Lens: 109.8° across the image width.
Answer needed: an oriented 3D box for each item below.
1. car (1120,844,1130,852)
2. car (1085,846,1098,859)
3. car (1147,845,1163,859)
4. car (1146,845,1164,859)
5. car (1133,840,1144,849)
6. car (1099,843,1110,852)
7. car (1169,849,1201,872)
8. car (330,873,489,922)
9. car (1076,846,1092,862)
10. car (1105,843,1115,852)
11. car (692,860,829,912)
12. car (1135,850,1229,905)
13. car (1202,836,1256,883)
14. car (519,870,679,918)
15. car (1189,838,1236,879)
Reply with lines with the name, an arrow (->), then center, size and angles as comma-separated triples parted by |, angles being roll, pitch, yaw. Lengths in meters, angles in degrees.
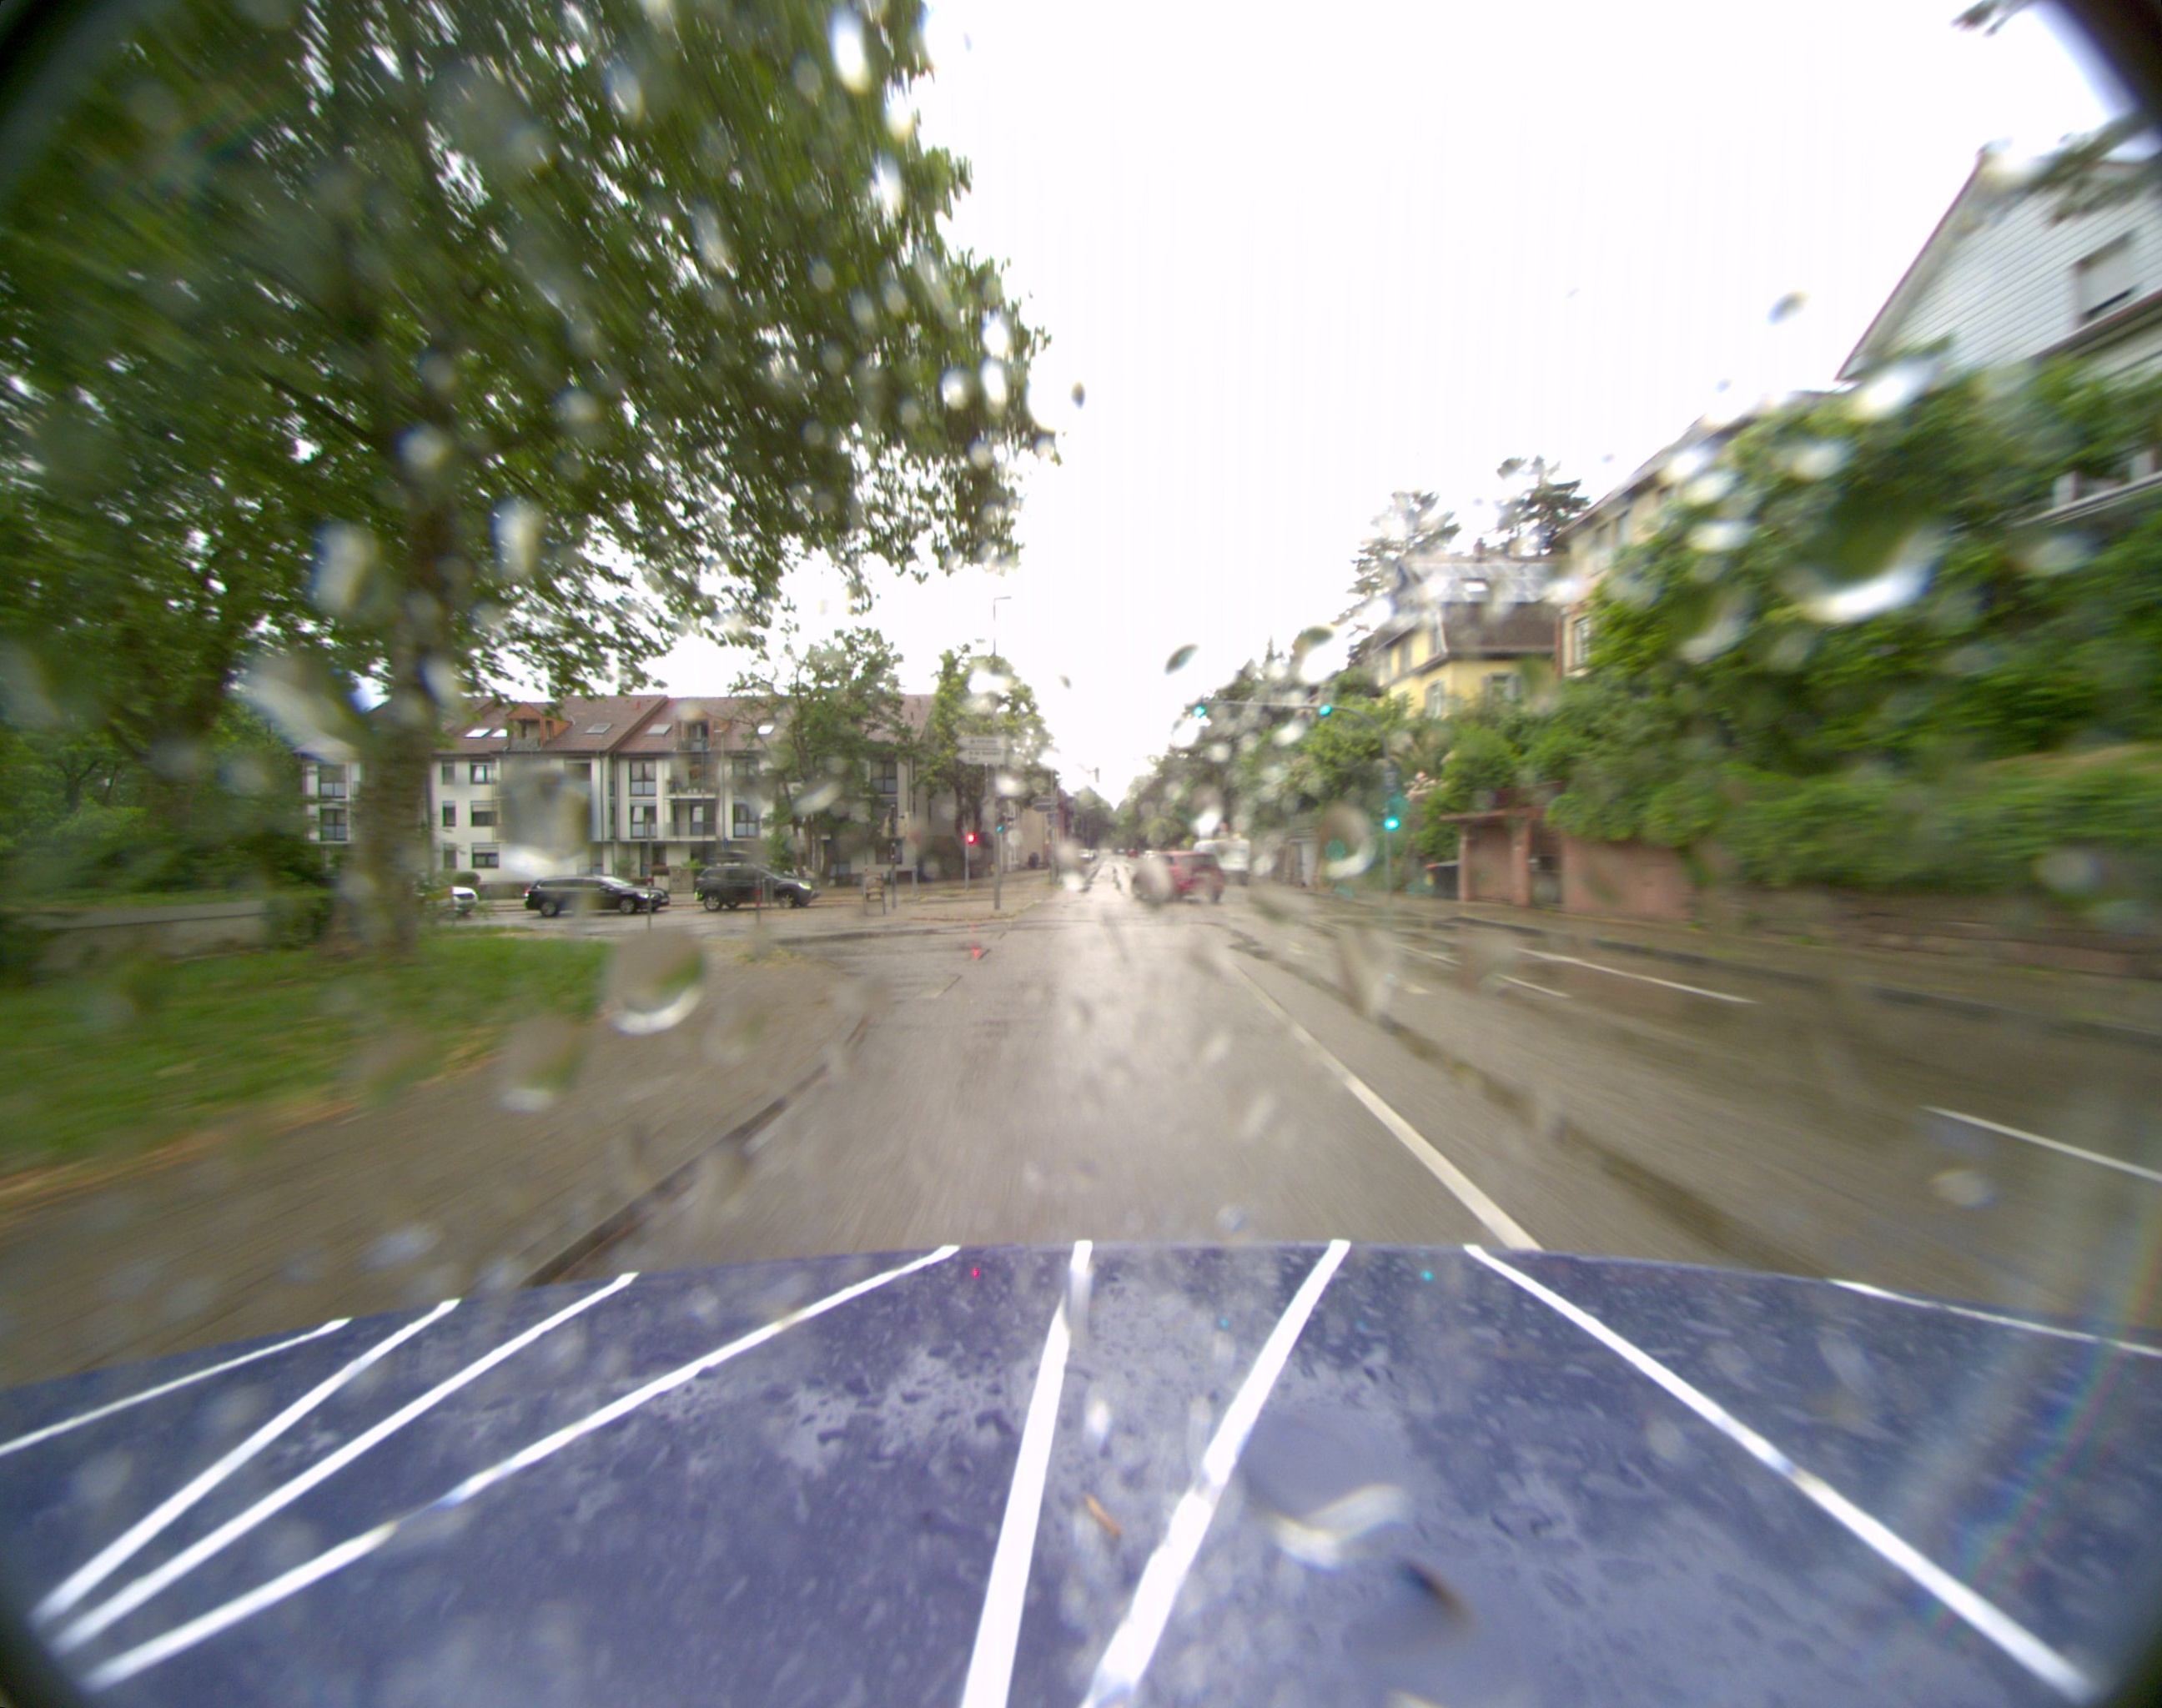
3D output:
car -> 11.404, -1.481, 196.755 | 1.923, 1.889, 4.004 | -1, 1, 14
car -> 1.739, -0.275, 119.763 | 1.925, 1.889, 4.000 | -2, 1, 2
car -> 10.123, -0.283, 104.766 | 1.925, 1.889, 4.000 | -2, 1, 2
car -> 9.160, -0.264, 94.345 | 1.925, 1.747, 4.000 | -2, 1, 2
car -> 12.422, -1.986, 164.099 | 1.924, 1.889, 4.002 | -1, 1, 7
car -> 5.306, -1.502, 169.910 | 1.924, 1.889, 4.002 | -1, 1, 8
car -> 9.190, 0.561, 67.515 | 2.162, 1.815, 4.916 | 2, 1, 1
car -> -24.659, 1.585, 28.012 | 4.170, 1.537, 1.666 | -2, 2, -3
car -> 0.474, -0.015, 99.970 | 1.925, 1.889, 4.000 | -2, 1, 2
car -> 6.910, -1.563, 179.866 | 1.923, 1.889, 4.002 | -1, 1, 10
car -> -11.686, 1.139, 27.911 | 4.226, 1.677, 1.709 | -2, 1, -3
car -> 3.188, 0.683, 24.810 | 1.795, 1.600, 4.088 | -1, 1, -12
car -> 8.356, 0.276, 43.305 | 2.084, 2.464, 4.853 | 2, 1, 1
car -> -17.458, 1.435, 27.688 | 4.623, 1.438, 1.609 | -2, 3, -3
car -> 8.547, 0.256, 49.848 | 2.162, 2.454, 4.916 | 2, 1, 1
